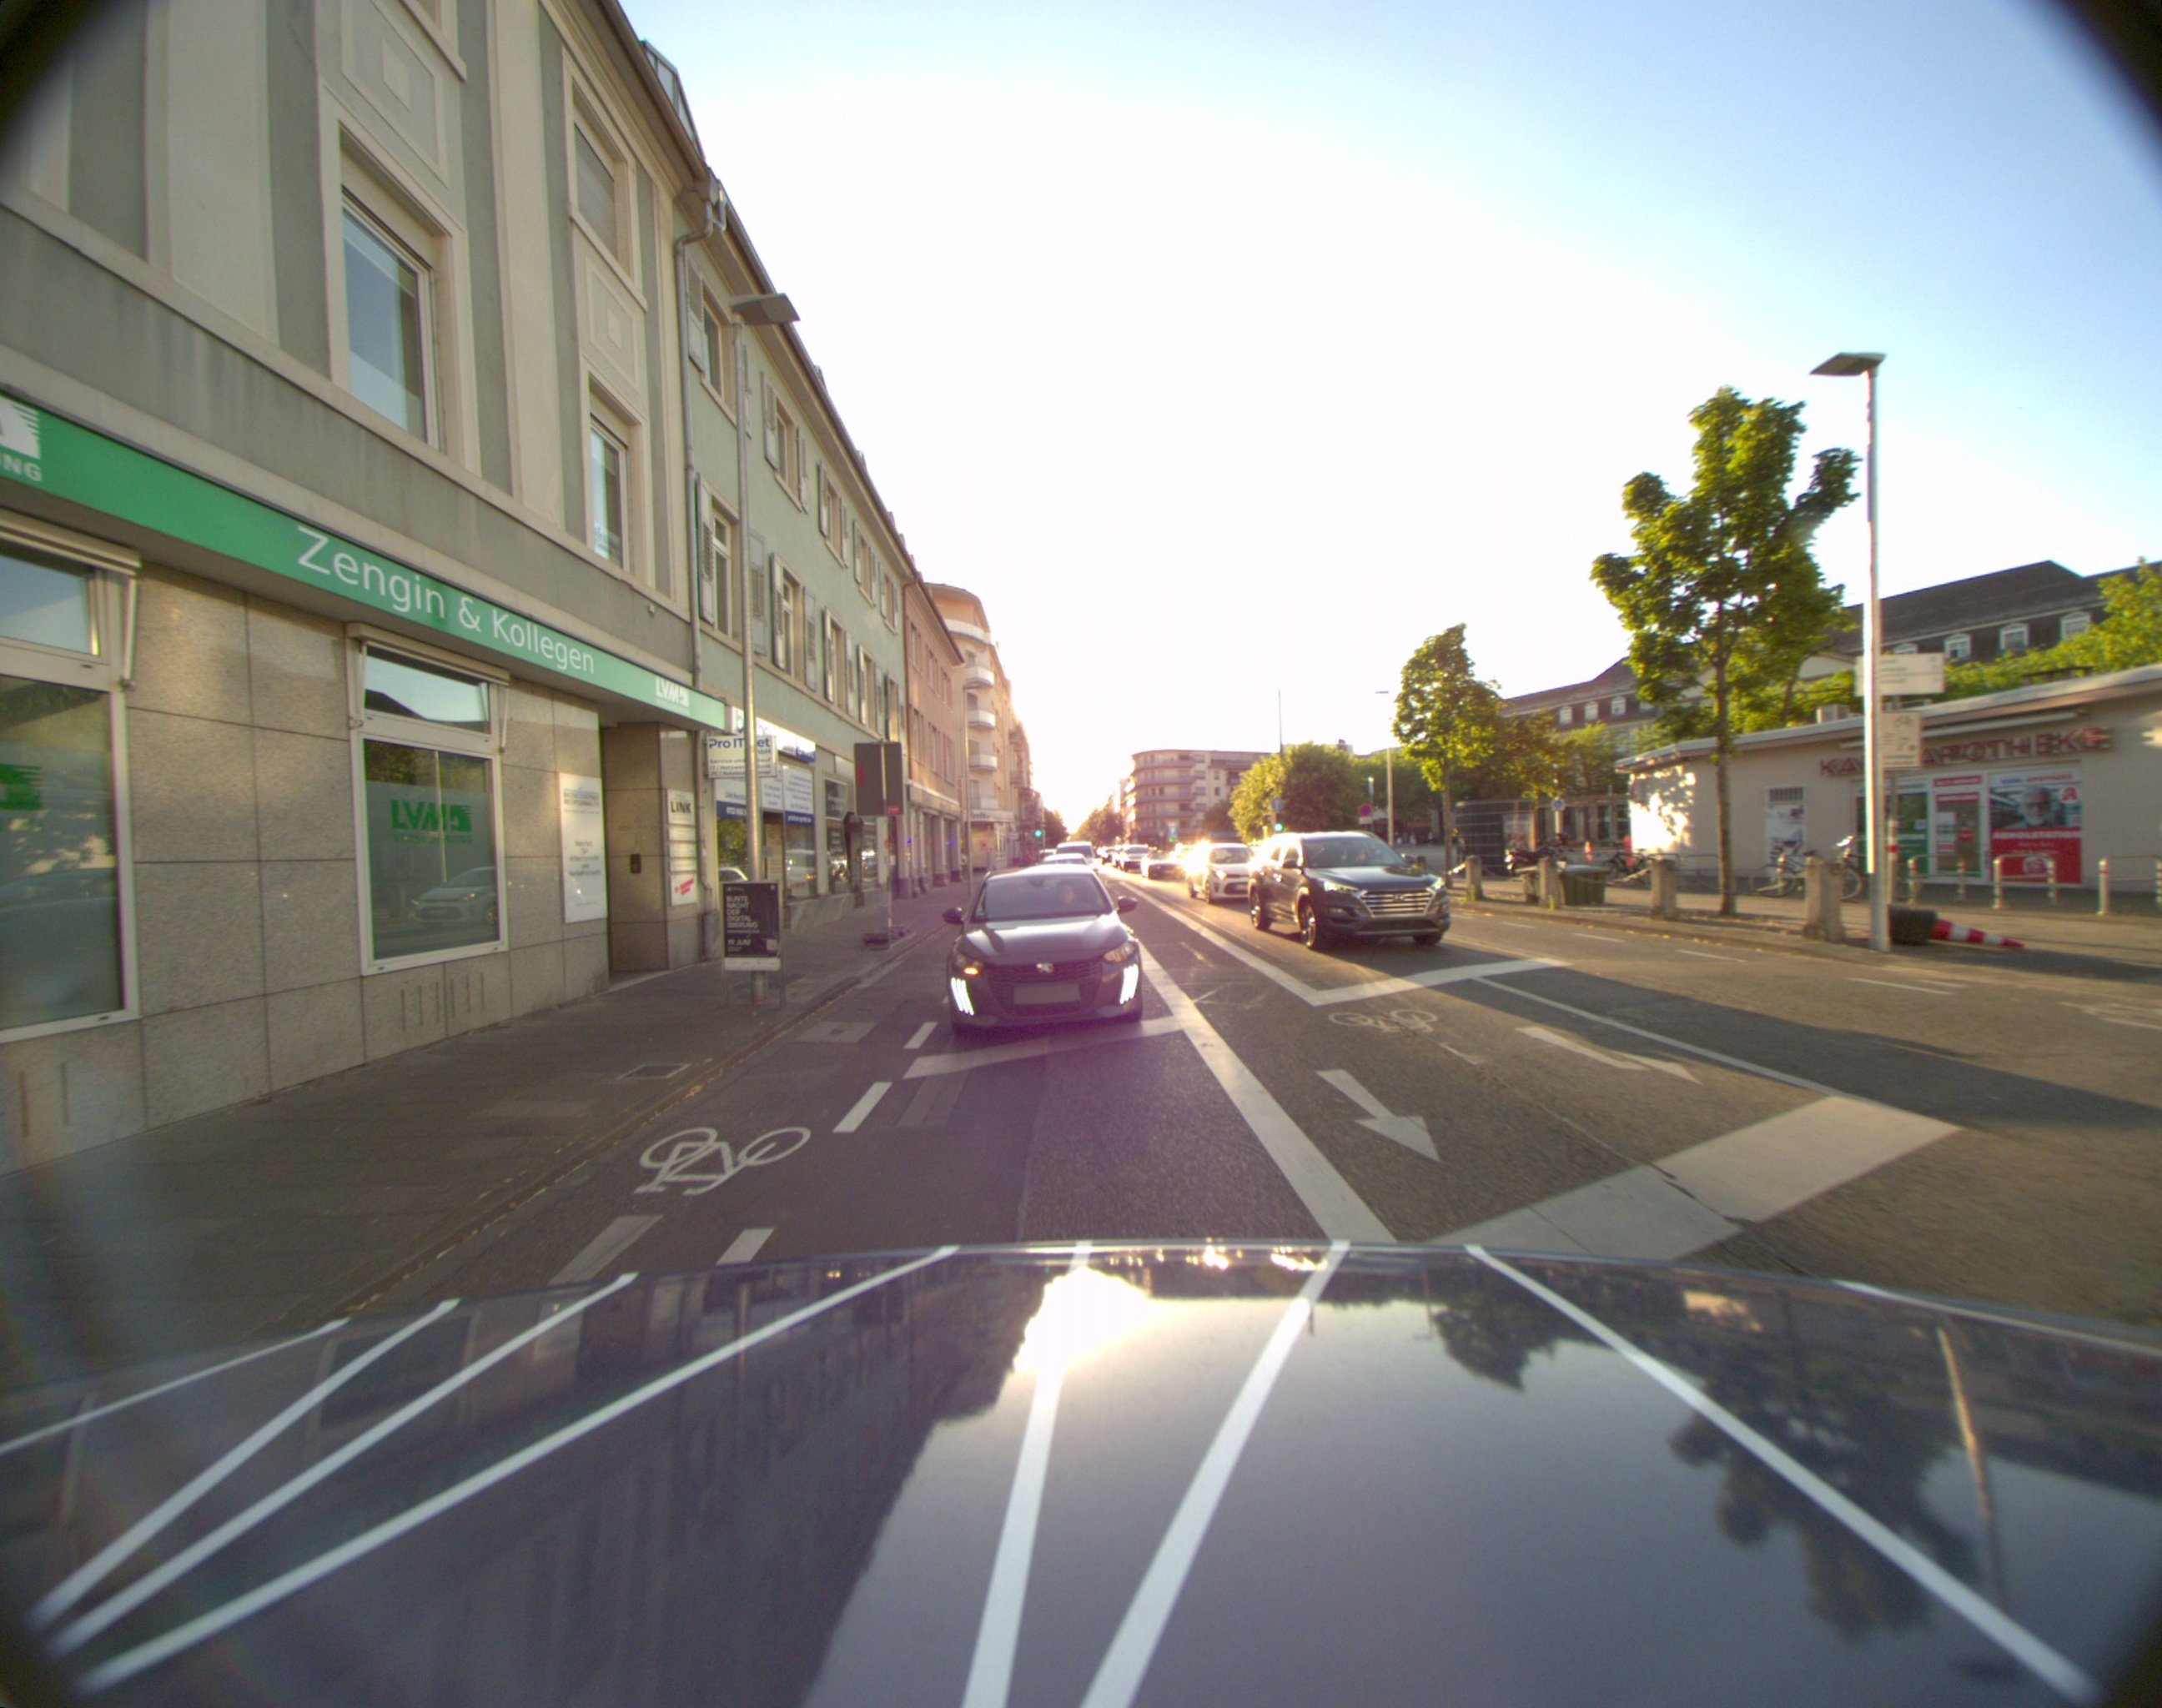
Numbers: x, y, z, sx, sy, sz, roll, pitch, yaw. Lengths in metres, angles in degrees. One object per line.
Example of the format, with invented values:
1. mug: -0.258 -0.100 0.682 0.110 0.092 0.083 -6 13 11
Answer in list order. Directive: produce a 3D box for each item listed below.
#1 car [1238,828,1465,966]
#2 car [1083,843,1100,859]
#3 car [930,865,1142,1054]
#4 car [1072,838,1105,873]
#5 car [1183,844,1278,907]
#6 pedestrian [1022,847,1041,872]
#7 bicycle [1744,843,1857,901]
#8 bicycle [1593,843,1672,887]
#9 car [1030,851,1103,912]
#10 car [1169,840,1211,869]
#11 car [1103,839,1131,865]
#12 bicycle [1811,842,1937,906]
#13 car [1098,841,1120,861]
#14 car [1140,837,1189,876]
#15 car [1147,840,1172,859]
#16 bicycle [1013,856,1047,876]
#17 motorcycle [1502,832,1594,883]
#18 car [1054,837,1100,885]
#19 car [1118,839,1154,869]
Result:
1. car: 3.895 0.520 11.795 1.828 1.688 4.258 -2 1 -2
2. car: 1.262 -0.384 88.976 1.880 1.762 3.999 -2 1 0
3. car: -0.478 0.932 8.458 1.751 1.434 3.904 -3 1 -3
4. car: 0.448 0.037 46.814 1.891 2.002 3.892 -2 1 0
5. car: 3.872 0.497 20.326 1.718 1.463 3.984 -2 1 0
6. pedestrian: -2.672 0.300 41.330 0.858 1.343 0.562 -2 1 10
7. bicycle: 14.561 0.360 15.388 1.870 1.108 0.448 -2 2 0
8. bicycle: 14.619 0.297 20.140 1.811 1.096 0.396 -2 1 -2
9. car: -0.388 0.700 21.852 1.827 1.463 3.984 -3 1 0
10. car: 6.633 0.008 46.570 1.880 1.594 3.999 -2 1 -2
11. car: 2.609 -0.158 56.203 1.880 1.762 4.000 -2 1 1
12. bicycle: 14.775 0.364 14.177 1.870 1.108 0.448 -2 2 0
13. car: 2.544 -0.317 70.521 1.880 1.762 4.000 -2 1 1
14. car: 3.814 0.092 35.384 1.827 1.731 3.984 0 1 0
15. car: 7.221 -0.452 70.502 1.827 1.688 3.984 1 1 0
16. bicycle: -2.773 0.666 41.370 1.702 1.051 0.562 -2 1 10
17. motorcycle: 14.289 0.097 23.267 2.399 1.438 0.700 -2 1 -2
18. car: -0.153 0.239 32.417 1.827 1.918 3.984 0 1 0
19. car: 3.272 -0.045 45.799 1.827 1.731 3.984 0 1 0
